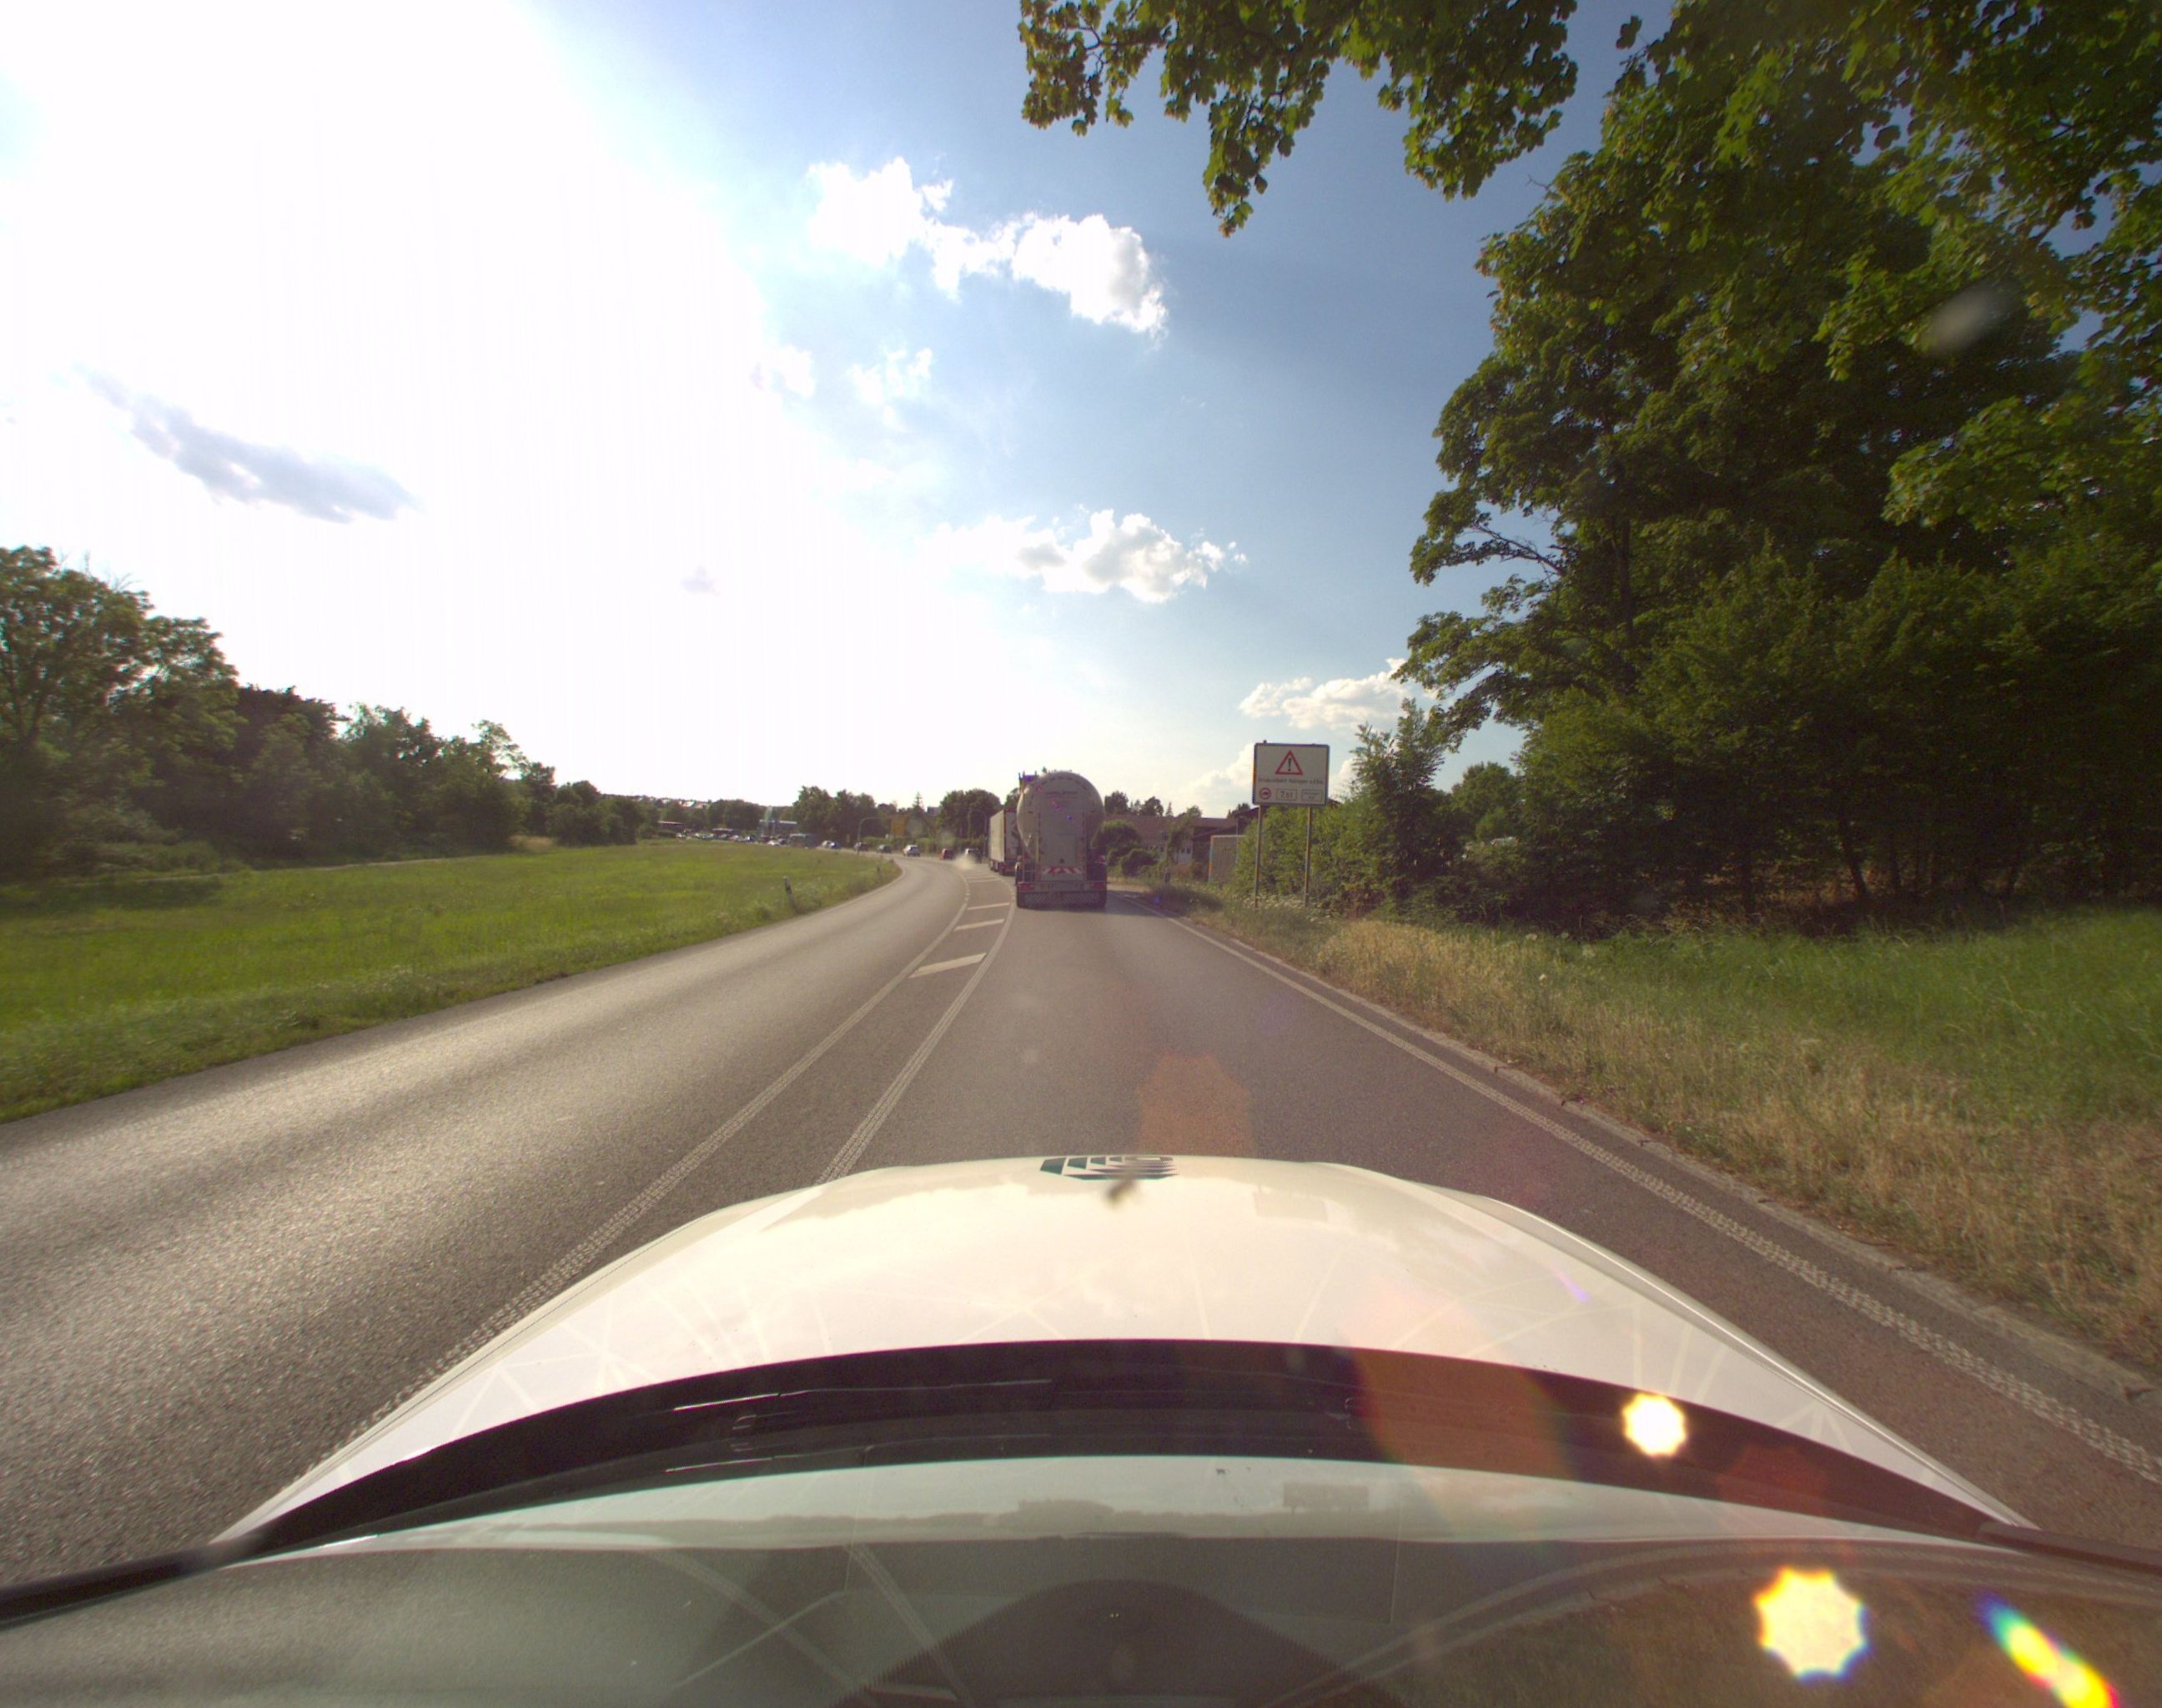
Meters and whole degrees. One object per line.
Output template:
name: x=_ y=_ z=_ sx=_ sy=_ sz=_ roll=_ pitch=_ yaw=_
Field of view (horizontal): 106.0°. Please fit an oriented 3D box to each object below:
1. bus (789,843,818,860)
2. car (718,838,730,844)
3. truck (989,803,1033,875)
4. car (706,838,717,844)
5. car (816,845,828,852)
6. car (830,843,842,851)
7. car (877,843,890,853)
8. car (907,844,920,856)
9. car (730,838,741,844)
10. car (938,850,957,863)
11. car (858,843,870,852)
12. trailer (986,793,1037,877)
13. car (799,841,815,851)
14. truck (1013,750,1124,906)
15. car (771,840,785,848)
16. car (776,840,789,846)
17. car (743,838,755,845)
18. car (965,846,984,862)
bus: x=-54.377 y=-0.344 z=159.314 sx=2.813 sy=3.181 sz=12.004 roll=1 pitch=-1 yaw=-32
car: x=-96.254 y=-3.419 z=219.399 sx=1.898 sy=1.599 sz=3.953 roll=0 pitch=1 yaw=-41
truck: x=-5.021 y=-0.982 z=58.794 sx=2.958 sy=4.886 sz=6.419 roll=0 pitch=-1 yaw=-5
car: x=-102.363 y=-3.528 z=225.656 sx=1.898 sy=1.599 sz=3.953 roll=0 pitch=1 yaw=-41
car: x=-56.656 y=-1.227 z=178.264 sx=1.688 sy=1.559 sz=3.836 roll=0 pitch=-1 yaw=-29
car: x=-50.464 y=-1.466 z=167.560 sx=1.688 sy=1.559 sz=3.836 roll=0 pitch=-1 yaw=-29
car: x=-34.170 y=-1.005 z=140.656 sx=1.526 sy=1.656 sz=3.841 roll=0 pitch=-1 yaw=-24
car: x=-25.410 y=-0.592 z=123.590 sx=1.844 sy=1.656 sz=3.980 roll=0 pitch=-1 yaw=-14
car: x=-91.306 y=-3.497 z=215.176 sx=1.896 sy=1.599 sz=3.956 roll=0 pitch=1 yaw=-36
car: x=-17.288 y=0.318 z=105.339 sx=2.301 sy=1.656 sz=4.398 roll=0 pitch=-1 yaw=-11
car: x=-40.770 y=-1.156 z=152.741 sx=1.526 sy=1.656 sz=3.841 roll=0 pitch=-1 yaw=-24
trailer: x=-4.447 y=-1.040 z=52.266 sx=2.959 sy=4.882 sz=10.269 roll=0 pitch=-1 yaw=-5
car: x=-48.187 y=-1.359 z=143.392 sx=1.853 sy=1.656 sz=3.960 roll=0 pitch=-1 yaw=-32
truck: x=-0.806 y=-0.643 z=27.757 sx=2.971 sy=4.175 sz=11.641 roll=0 pitch=-1 yaw=-5
car: x=-66.431 y=-2.180 z=178.334 sx=1.855 sy=1.656 sz=3.955 roll=1 pitch=-1 yaw=-37
car: x=-71.261 y=-2.628 z=194.627 sx=2.100 sy=1.599 sz=3.959 roll=0 pitch=1 yaw=-33
car: x=-86.108 y=-3.241 z=211.376 sx=2.100 sy=1.599 sz=3.959 roll=0 pitch=1 yaw=-33
car: x=-11.530 y=0.044 z=88.452 sx=1.992 sy=1.656 sz=3.990 roll=0 pitch=-1 yaw=-7
